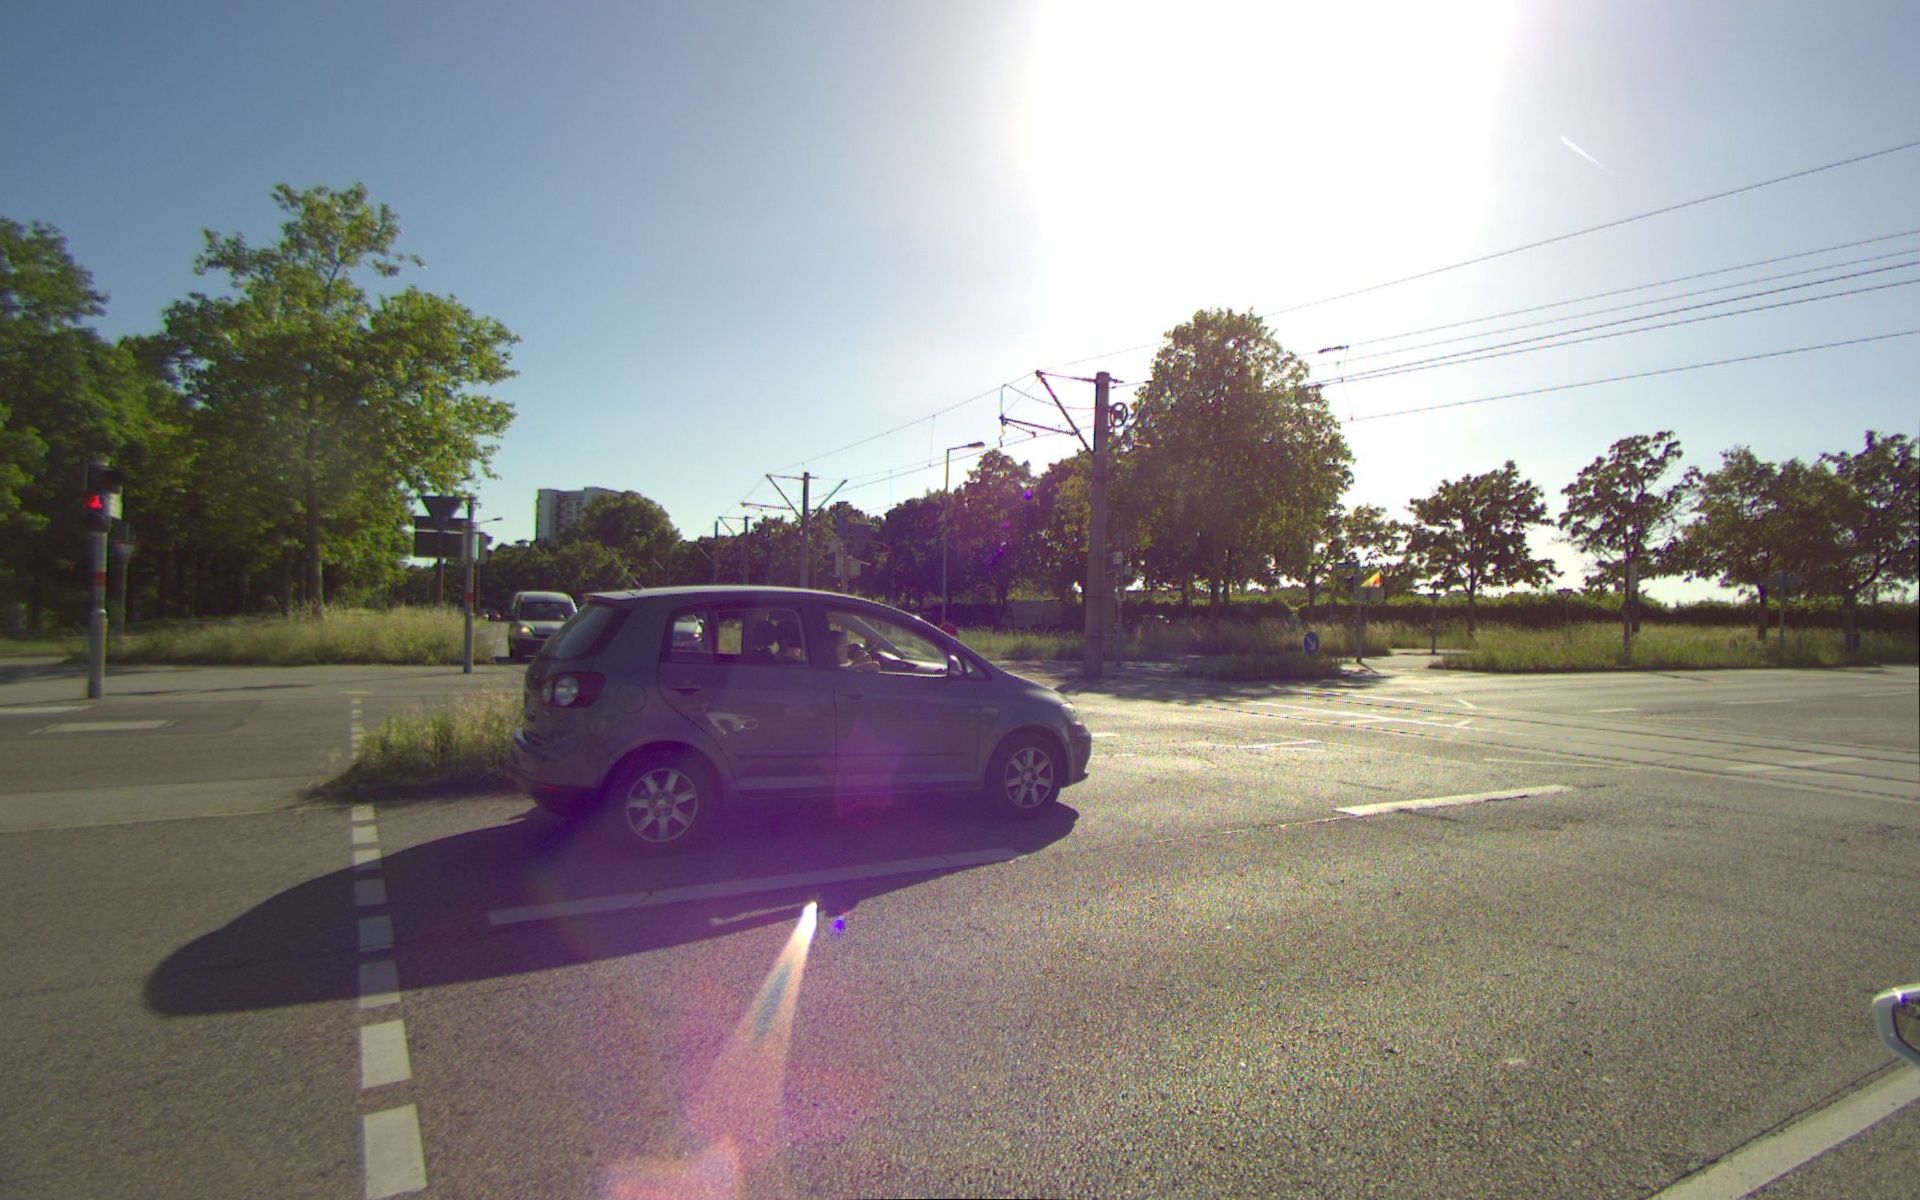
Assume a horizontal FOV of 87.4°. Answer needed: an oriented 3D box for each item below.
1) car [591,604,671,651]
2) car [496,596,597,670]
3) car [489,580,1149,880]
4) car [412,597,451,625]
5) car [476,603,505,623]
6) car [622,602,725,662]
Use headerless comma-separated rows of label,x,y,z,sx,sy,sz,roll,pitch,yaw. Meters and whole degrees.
car,-11.859,0.956,36.060,1.833,1.581,3.890,1,0,-33
car,-10.923,0.804,26.408,1.759,1.778,3.964,1,-1,-33
car,-0.915,0.770,7.223,4.334,1.591,1.833,2,-2,-30
car,-31.170,0.630,59.167,1.831,1.581,3.893,1,-1,-31
car,-39.890,1.110,85.331,1.831,1.581,3.893,1,-1,-31
car,-8.393,0.888,29.201,1.833,1.581,3.890,1,0,-33
